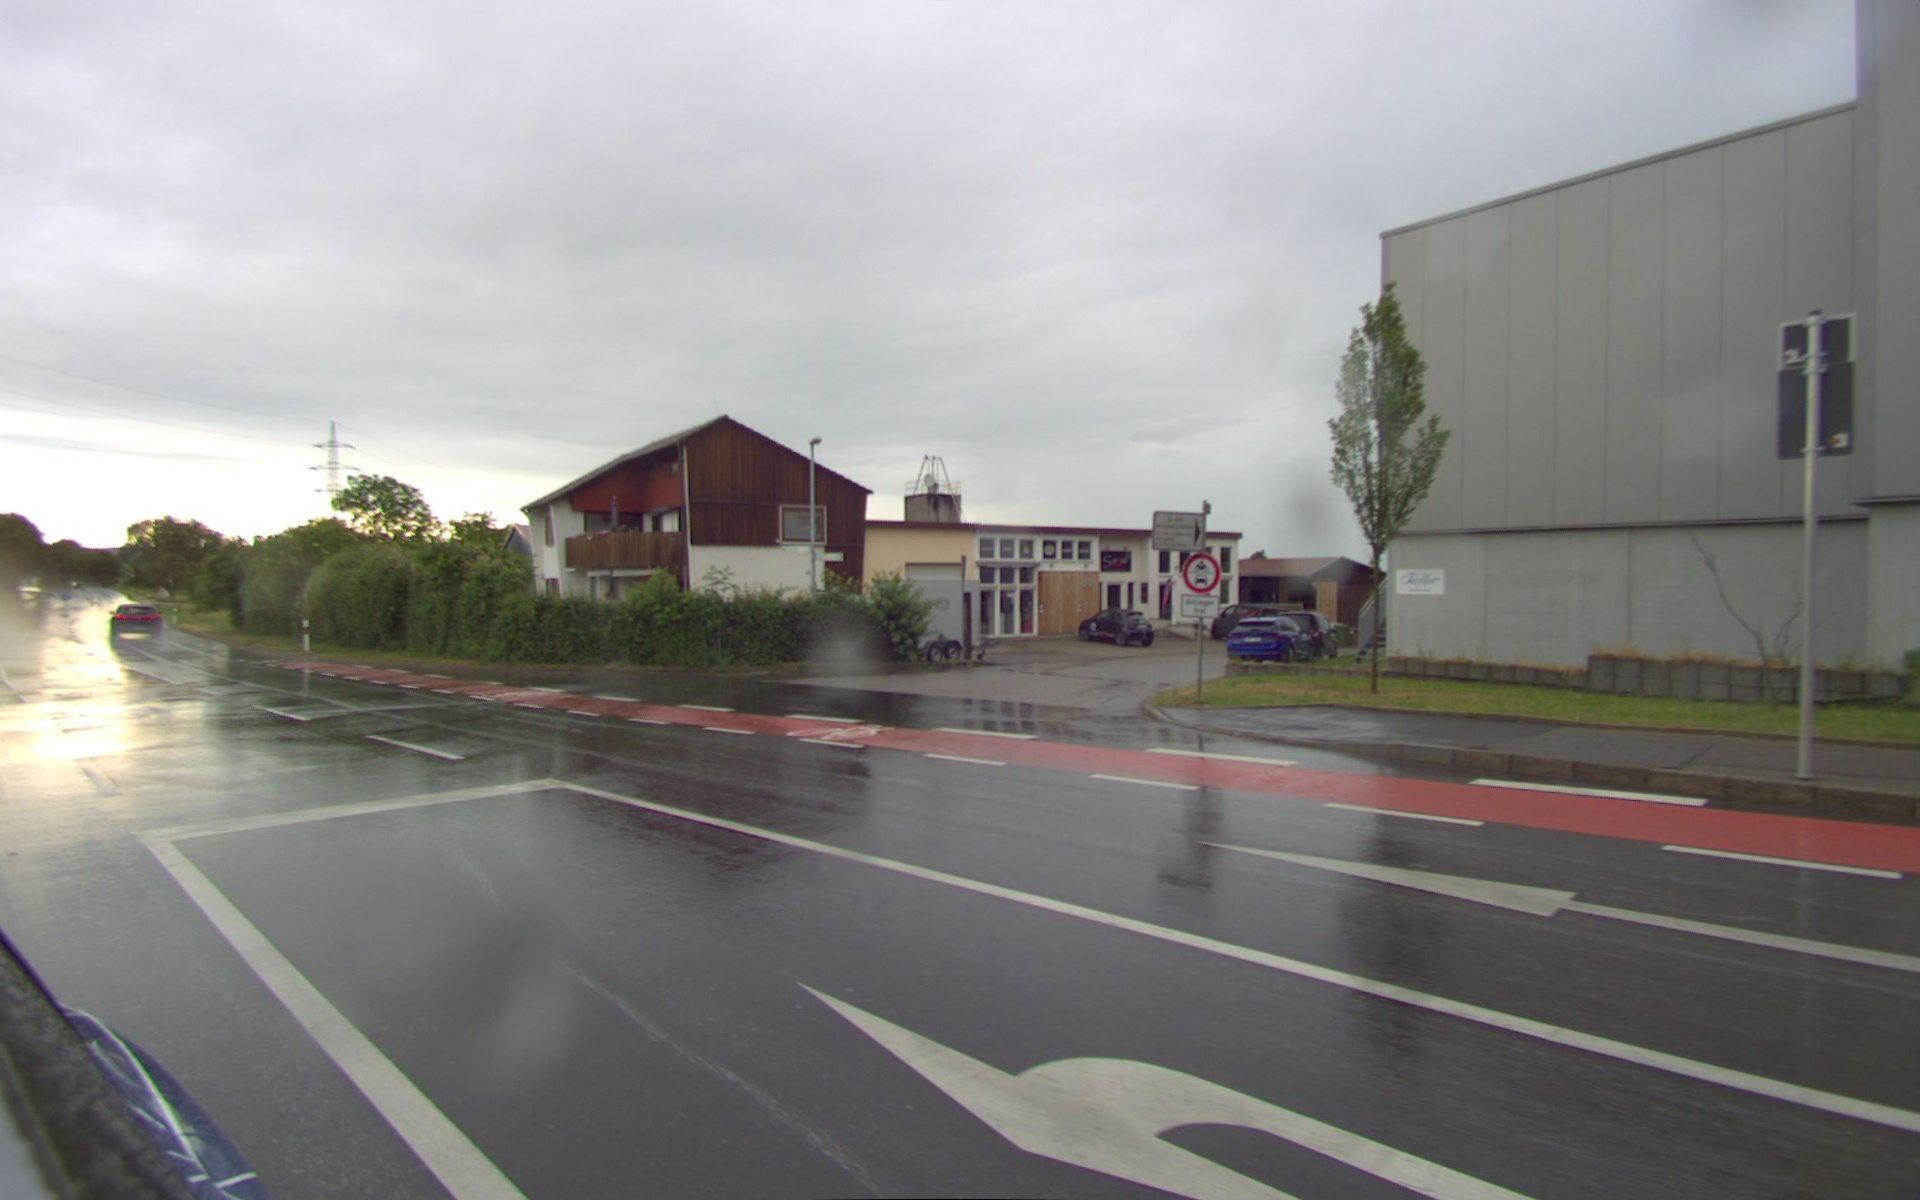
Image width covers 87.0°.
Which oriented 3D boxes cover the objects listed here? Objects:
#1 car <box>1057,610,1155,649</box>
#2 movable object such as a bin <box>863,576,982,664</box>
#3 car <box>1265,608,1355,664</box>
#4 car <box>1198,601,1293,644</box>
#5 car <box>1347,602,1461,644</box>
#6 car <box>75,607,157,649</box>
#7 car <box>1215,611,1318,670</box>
[{"bbox_3d":[6.274,1.280,43.739,1.967,1.567,4.010,3,-3,-34],"label":"car"},{"bbox_3d":[-1.136,0.637,31.479,3.286,2.576,1.741,2,-2,-39],"label":"movable object such as a bin"},{"bbox_3d":[12.341,1.253,35.544,2.074,1.849,4.421,-1,-2,32],"label":"car"},{"bbox_3d":[13.652,1.091,48.611,1.965,1.919,4.424,1,-2,-26],"label":"car"},{"bbox_3d":[26.877,1.403,61.534,2.421,2.433,6.045,2,-2,-33],"label":"car"},{"bbox_3d":[-41.170,1.403,49.281,6.879,1.830,2.327,-3,-4,44],"label":"car"},{"bbox_3d":[9.187,1.186,30.118,1.951,1.622,4.400,0,-2,31],"label":"car"}]
